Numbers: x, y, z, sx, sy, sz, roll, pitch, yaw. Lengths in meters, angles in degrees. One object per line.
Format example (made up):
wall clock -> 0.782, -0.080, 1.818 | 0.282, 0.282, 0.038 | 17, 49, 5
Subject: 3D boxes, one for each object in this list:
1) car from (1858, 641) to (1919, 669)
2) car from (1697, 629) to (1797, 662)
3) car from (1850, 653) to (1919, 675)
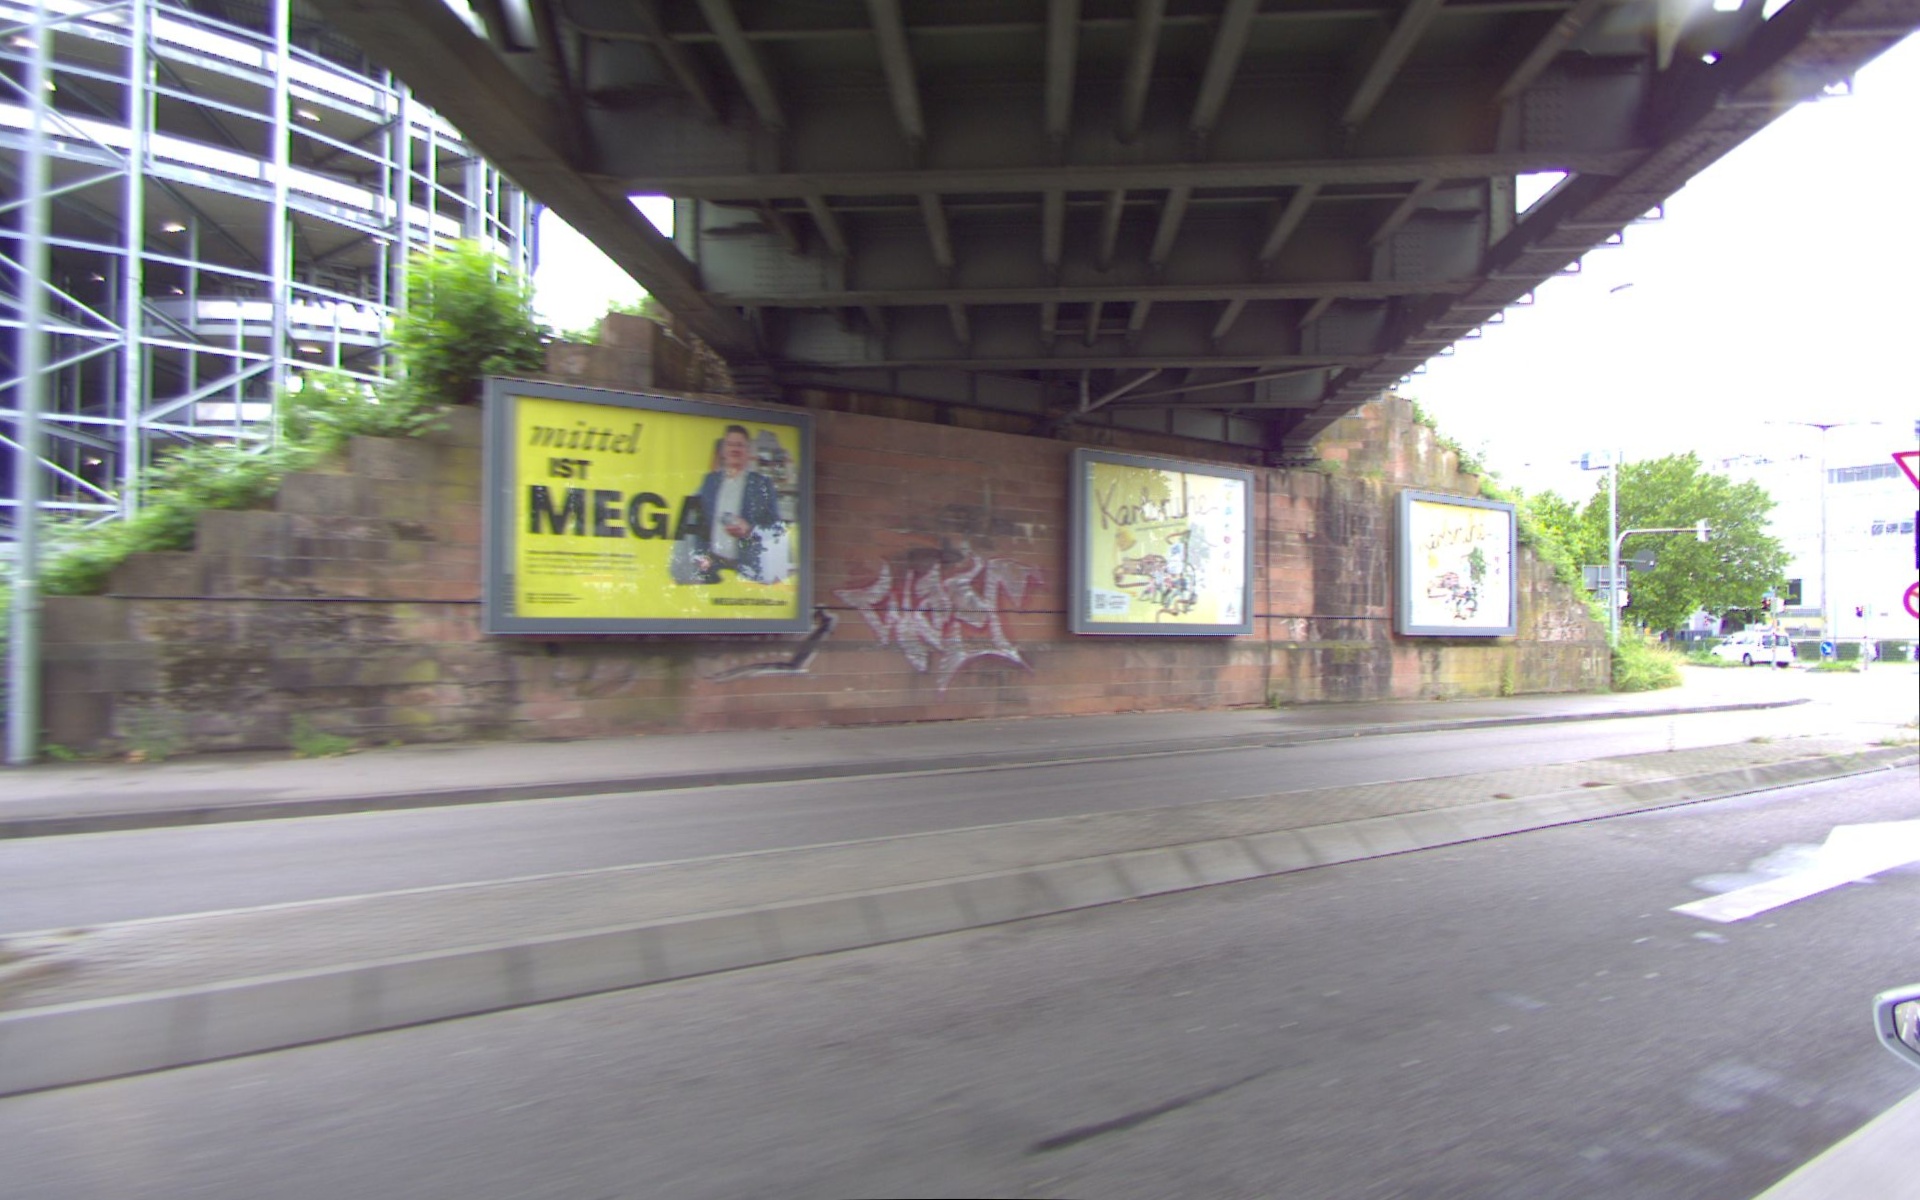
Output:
car -> 55.229, 3.186, 58.817 | 1.743, 1.548, 3.662 | 1, -2, -12
car -> 41.434, 2.348, 53.038 | 1.928, 1.548, 5.014 | 0, 0, 8
car -> 69.495, 4.766, 74.985 | 1.890, 1.552, 4.193 | 1, -2, -29
